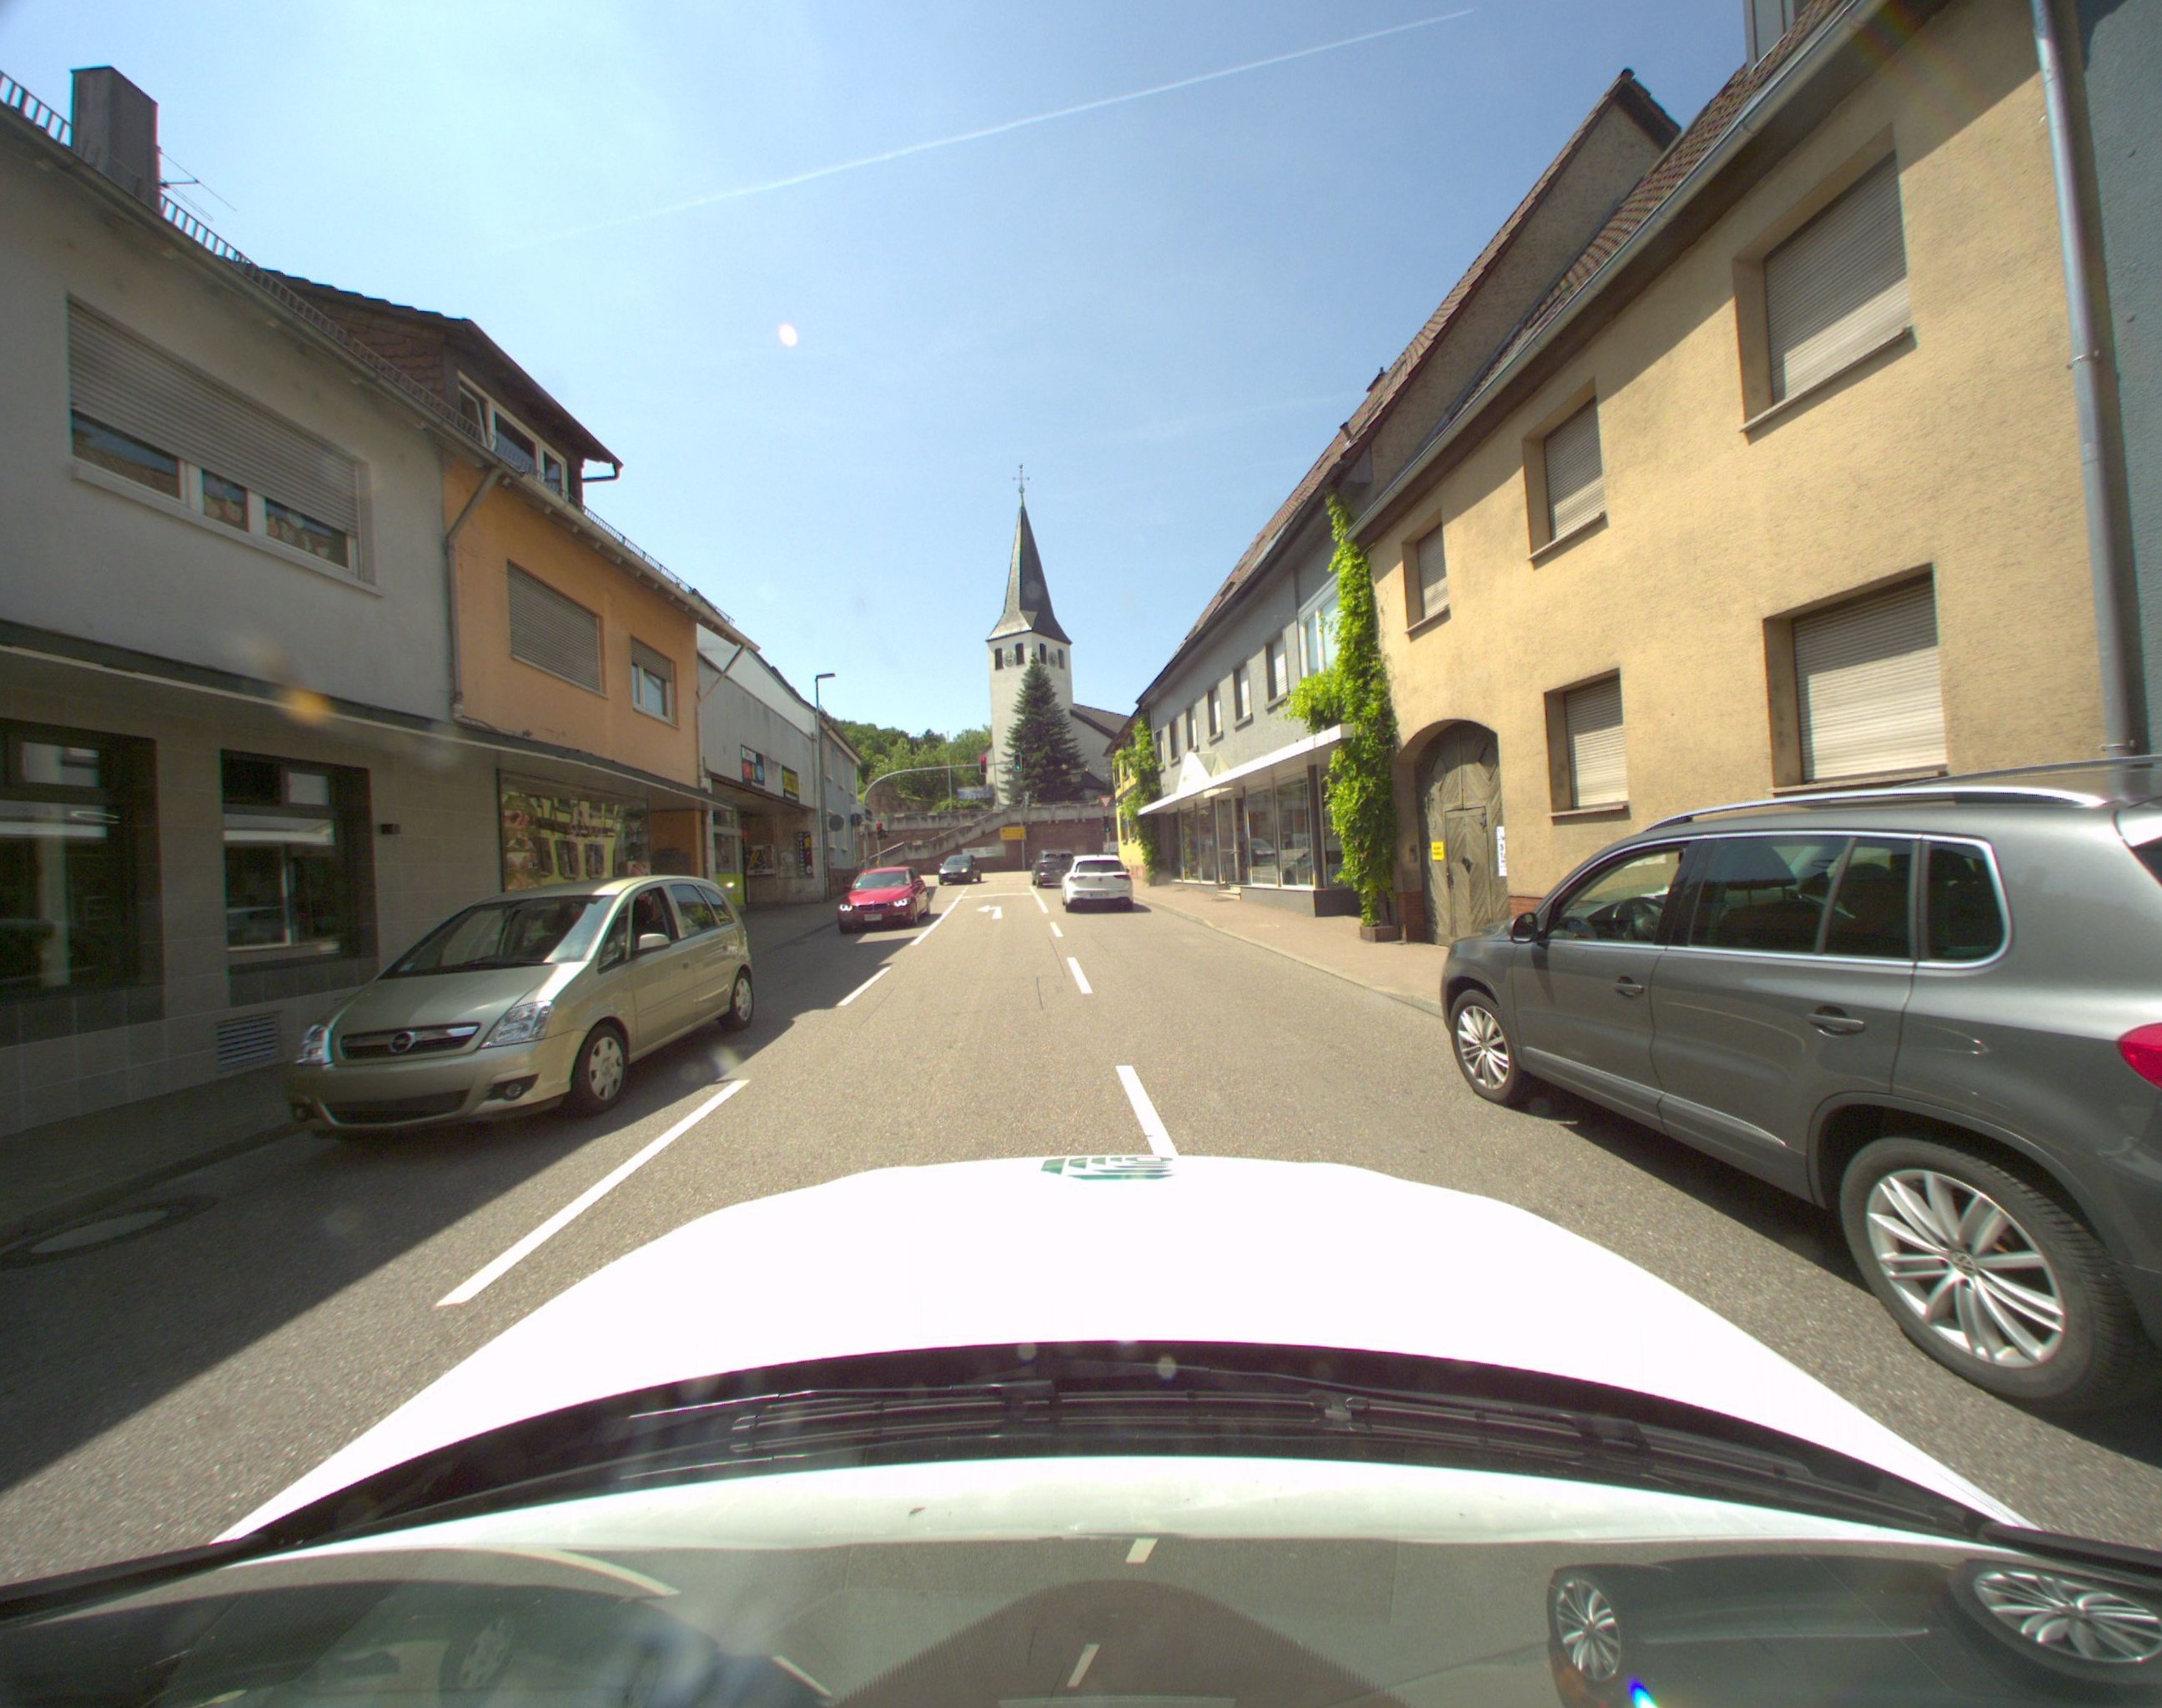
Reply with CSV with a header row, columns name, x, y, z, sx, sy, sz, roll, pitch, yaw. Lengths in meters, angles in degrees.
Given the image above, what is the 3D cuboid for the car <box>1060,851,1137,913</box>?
name,x,y,z,sx,sy,sz,roll,pitch,yaw
car,0.394,0.699,22.235,1.779,1.458,3.858,-3,0,-3

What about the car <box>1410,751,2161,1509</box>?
name,x,y,z,sx,sy,sz,roll,pitch,yaw
car,3.334,0.550,3.503,1.988,1.708,4.098,-5,0,-1

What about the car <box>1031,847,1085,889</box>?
name,x,y,z,sx,sy,sz,roll,pitch,yaw
car,-1.060,0.557,35.581,1.947,1.582,4.316,-3,2,-7

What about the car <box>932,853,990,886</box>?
name,x,y,z,sx,sy,sz,roll,pitch,yaw
car,-6.138,0.758,42.048,1.707,1.422,3.832,-4,1,10

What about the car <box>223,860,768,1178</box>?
name,x,y,z,sx,sy,sz,roll,pitch,yaw
car,-4.117,0.962,6.643,1.675,1.617,3.817,-5,1,-3

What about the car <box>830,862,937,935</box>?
name,x,y,z,sx,sy,sz,roll,pitch,yaw
car,-4.847,1.028,20.614,1.713,1.408,4.281,-5,1,-2
